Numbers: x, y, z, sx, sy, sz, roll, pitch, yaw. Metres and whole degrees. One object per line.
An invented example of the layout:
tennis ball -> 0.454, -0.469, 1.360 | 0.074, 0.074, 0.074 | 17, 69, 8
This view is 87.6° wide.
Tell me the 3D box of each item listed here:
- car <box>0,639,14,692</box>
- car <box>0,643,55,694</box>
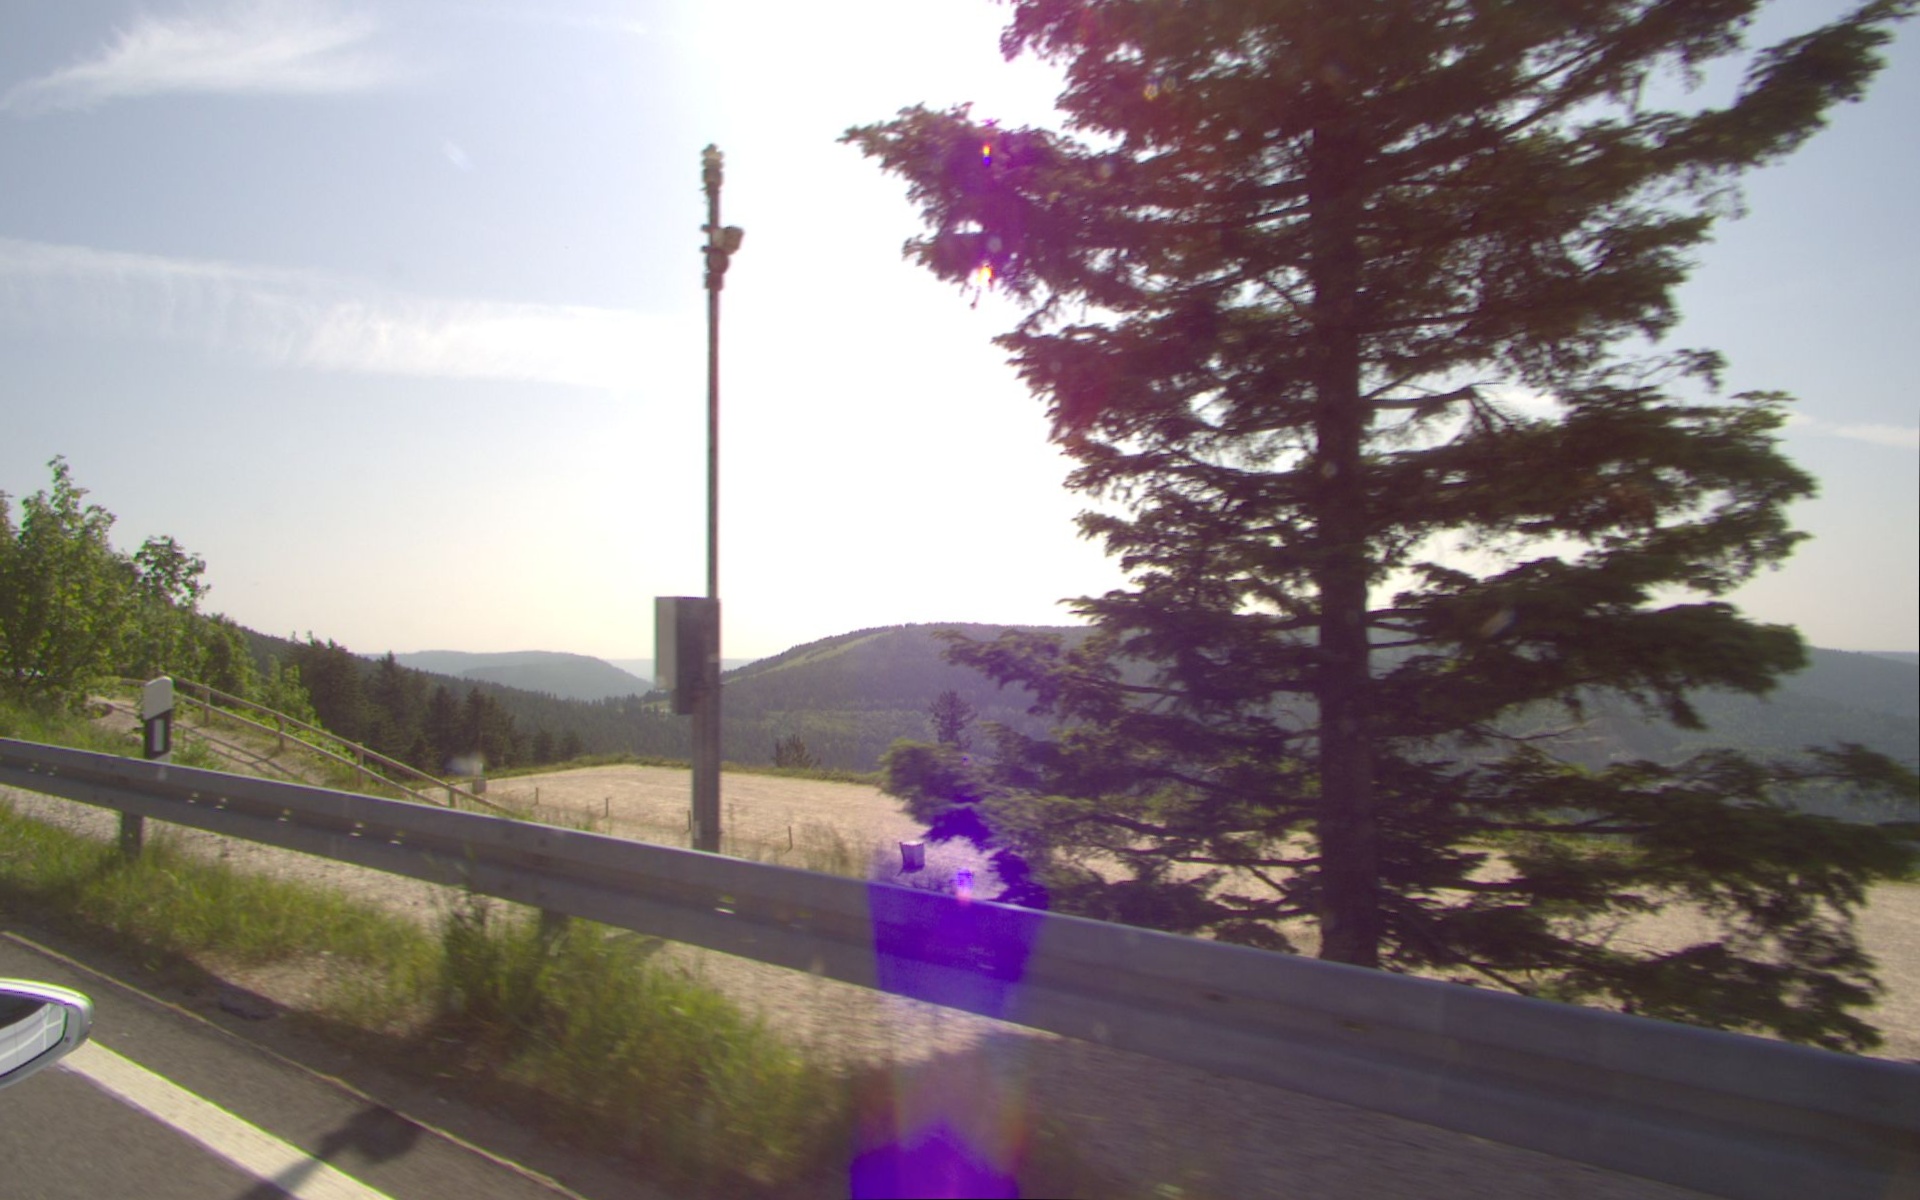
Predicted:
car -> -30.146, 1.808, 28.399 | 1.874, 1.587, 4.410 | 0, -5, 18
car -> -27.468, 1.820, 27.163 | 1.628, 1.402, 3.998 | 0, -5, 19
